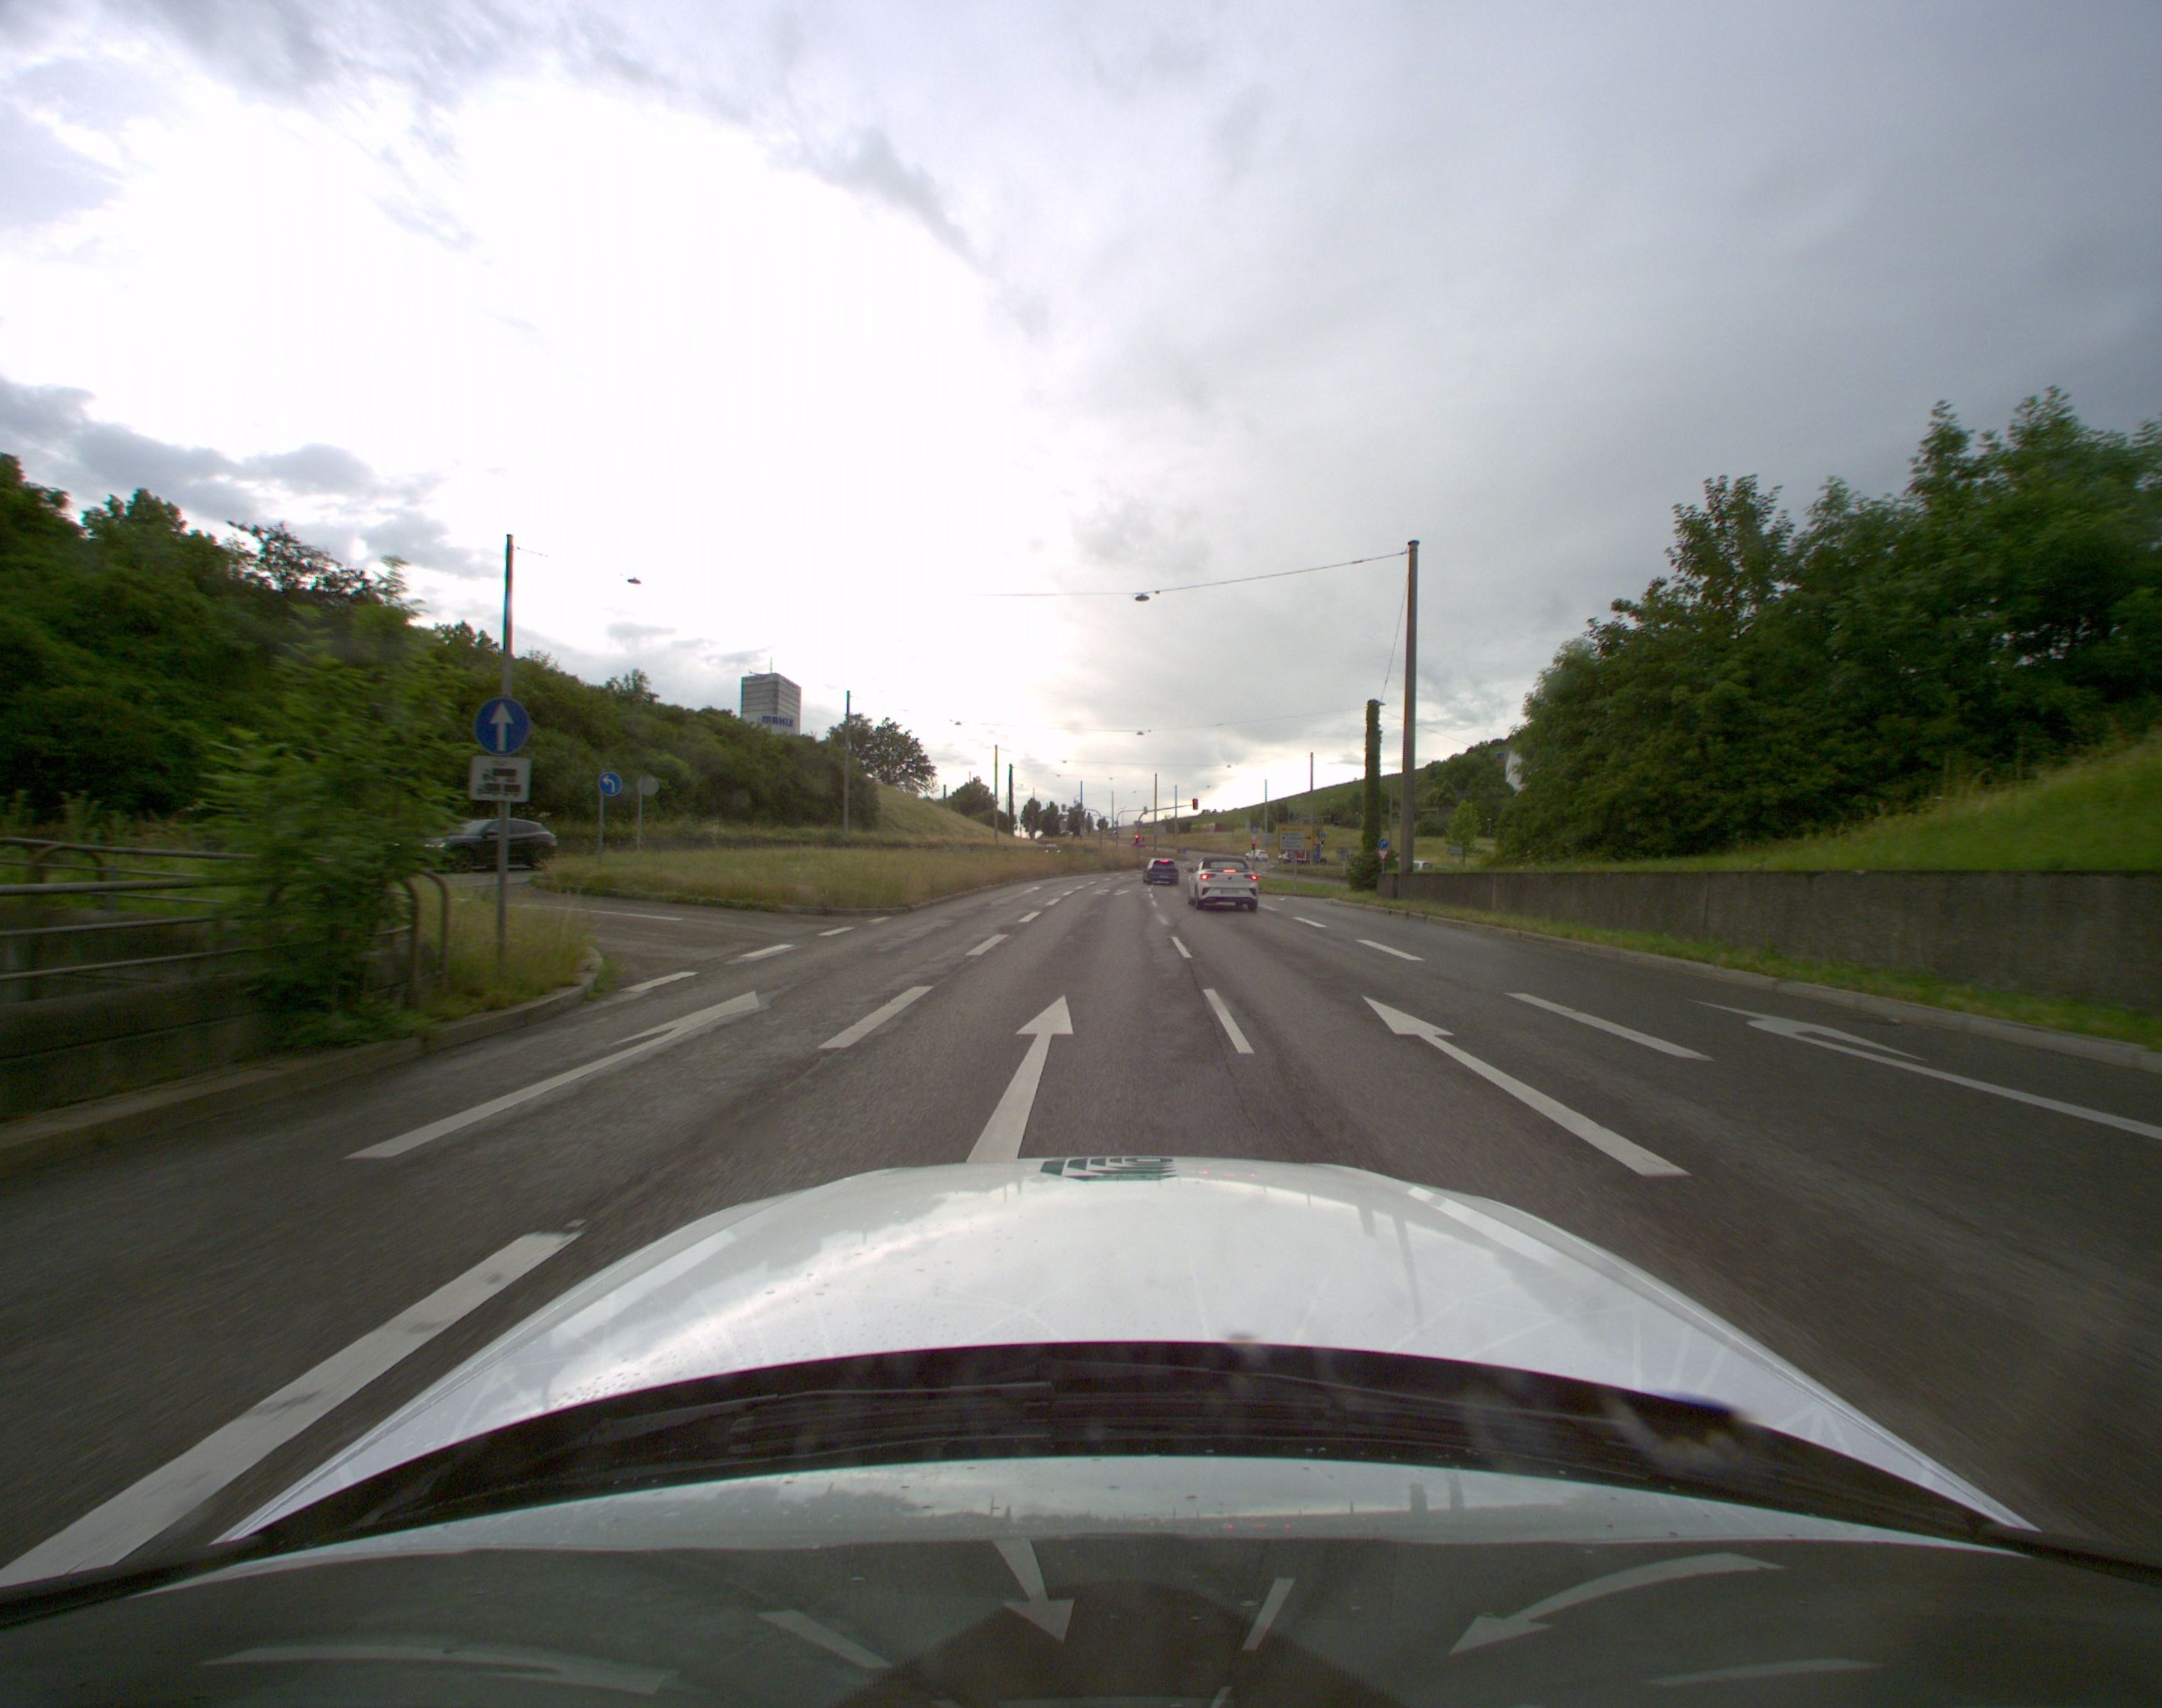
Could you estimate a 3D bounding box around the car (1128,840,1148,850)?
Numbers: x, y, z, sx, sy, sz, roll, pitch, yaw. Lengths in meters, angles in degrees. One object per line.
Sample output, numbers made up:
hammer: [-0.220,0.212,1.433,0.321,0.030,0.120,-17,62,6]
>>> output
car: [10.486,-1.641,150.454,2.001,1.712,4.531,-1,1,-21]

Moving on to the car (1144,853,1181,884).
car: [4.653,0.816,46.066,1.916,1.599,4.070,1,-1,8]

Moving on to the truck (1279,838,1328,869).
truck: [27.611,-0.132,101.510,2.857,3.526,6.196,-1,3,-19]

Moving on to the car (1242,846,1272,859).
car: [24.207,-0.263,111.994,1.999,1.500,4.537,-1,3,-18]

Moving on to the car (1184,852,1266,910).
car: [4.317,0.781,24.966,1.987,1.578,4.129,2,-1,3]

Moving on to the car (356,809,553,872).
car: [-18.679,-0.362,24.647,1.984,1.637,4.728,3,0,4]

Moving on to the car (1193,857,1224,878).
car: [10.066,1.067,64.218,1.760,1.519,3.742,3,0,19]
